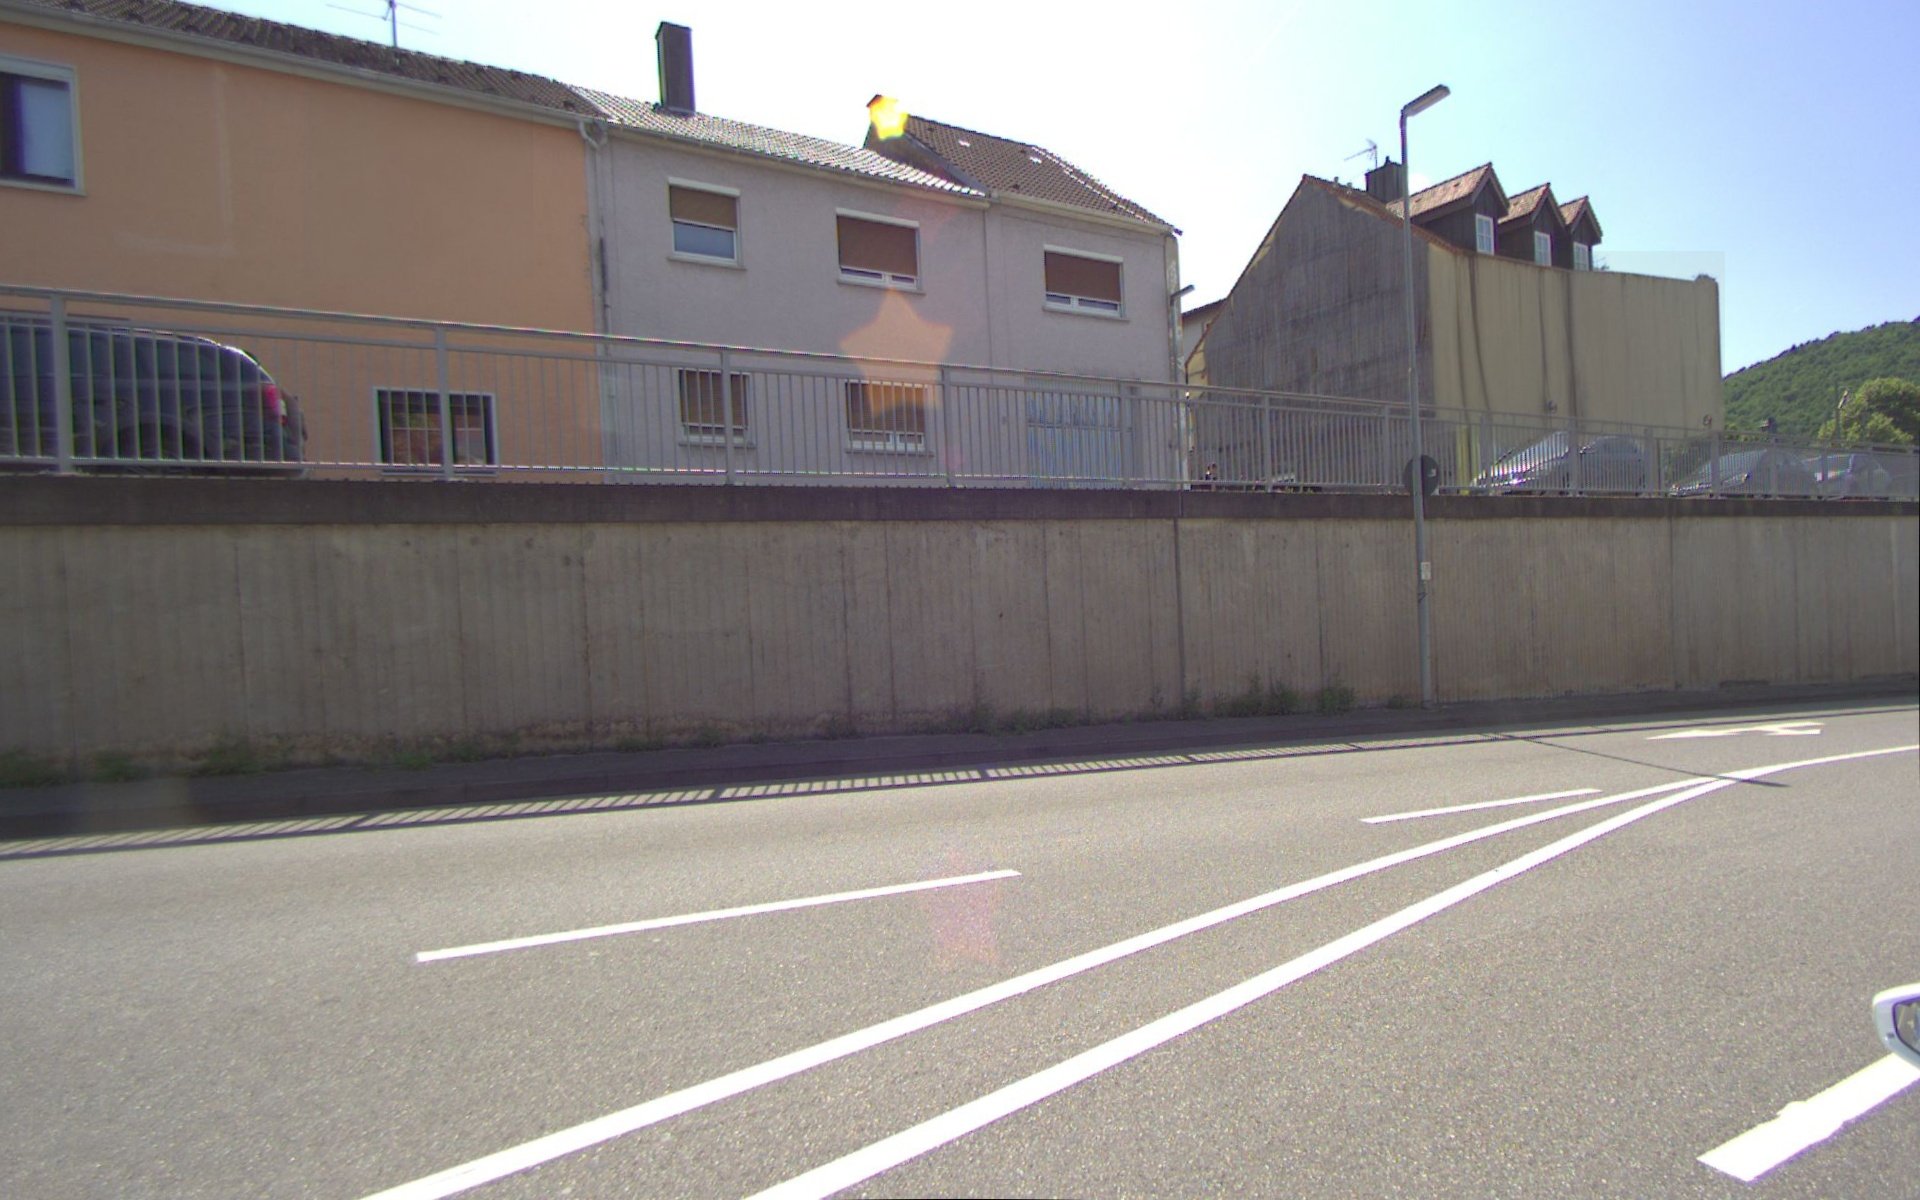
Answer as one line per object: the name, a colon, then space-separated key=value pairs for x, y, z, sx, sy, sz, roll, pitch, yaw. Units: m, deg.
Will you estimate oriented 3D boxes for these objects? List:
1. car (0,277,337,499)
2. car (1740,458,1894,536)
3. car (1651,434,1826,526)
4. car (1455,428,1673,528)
car: x=-7.691 y=-1.688 z=8.225 sx=4.343 sy=1.424 sz=1.776 roll=-2 pitch=0 yaw=-32
car: x=22.080 y=-2.576 z=25.865 sx=3.954 sy=1.690 sz=1.892 roll=-2 pitch=0 yaw=-32
car: x=17.797 y=-2.646 z=22.929 sx=4.175 sy=1.728 sz=1.813 roll=-2 pitch=0 yaw=-32
car: x=11.584 y=-2.235 z=19.202 sx=4.343 sy=1.545 sz=1.789 roll=-2 pitch=0 yaw=-32
